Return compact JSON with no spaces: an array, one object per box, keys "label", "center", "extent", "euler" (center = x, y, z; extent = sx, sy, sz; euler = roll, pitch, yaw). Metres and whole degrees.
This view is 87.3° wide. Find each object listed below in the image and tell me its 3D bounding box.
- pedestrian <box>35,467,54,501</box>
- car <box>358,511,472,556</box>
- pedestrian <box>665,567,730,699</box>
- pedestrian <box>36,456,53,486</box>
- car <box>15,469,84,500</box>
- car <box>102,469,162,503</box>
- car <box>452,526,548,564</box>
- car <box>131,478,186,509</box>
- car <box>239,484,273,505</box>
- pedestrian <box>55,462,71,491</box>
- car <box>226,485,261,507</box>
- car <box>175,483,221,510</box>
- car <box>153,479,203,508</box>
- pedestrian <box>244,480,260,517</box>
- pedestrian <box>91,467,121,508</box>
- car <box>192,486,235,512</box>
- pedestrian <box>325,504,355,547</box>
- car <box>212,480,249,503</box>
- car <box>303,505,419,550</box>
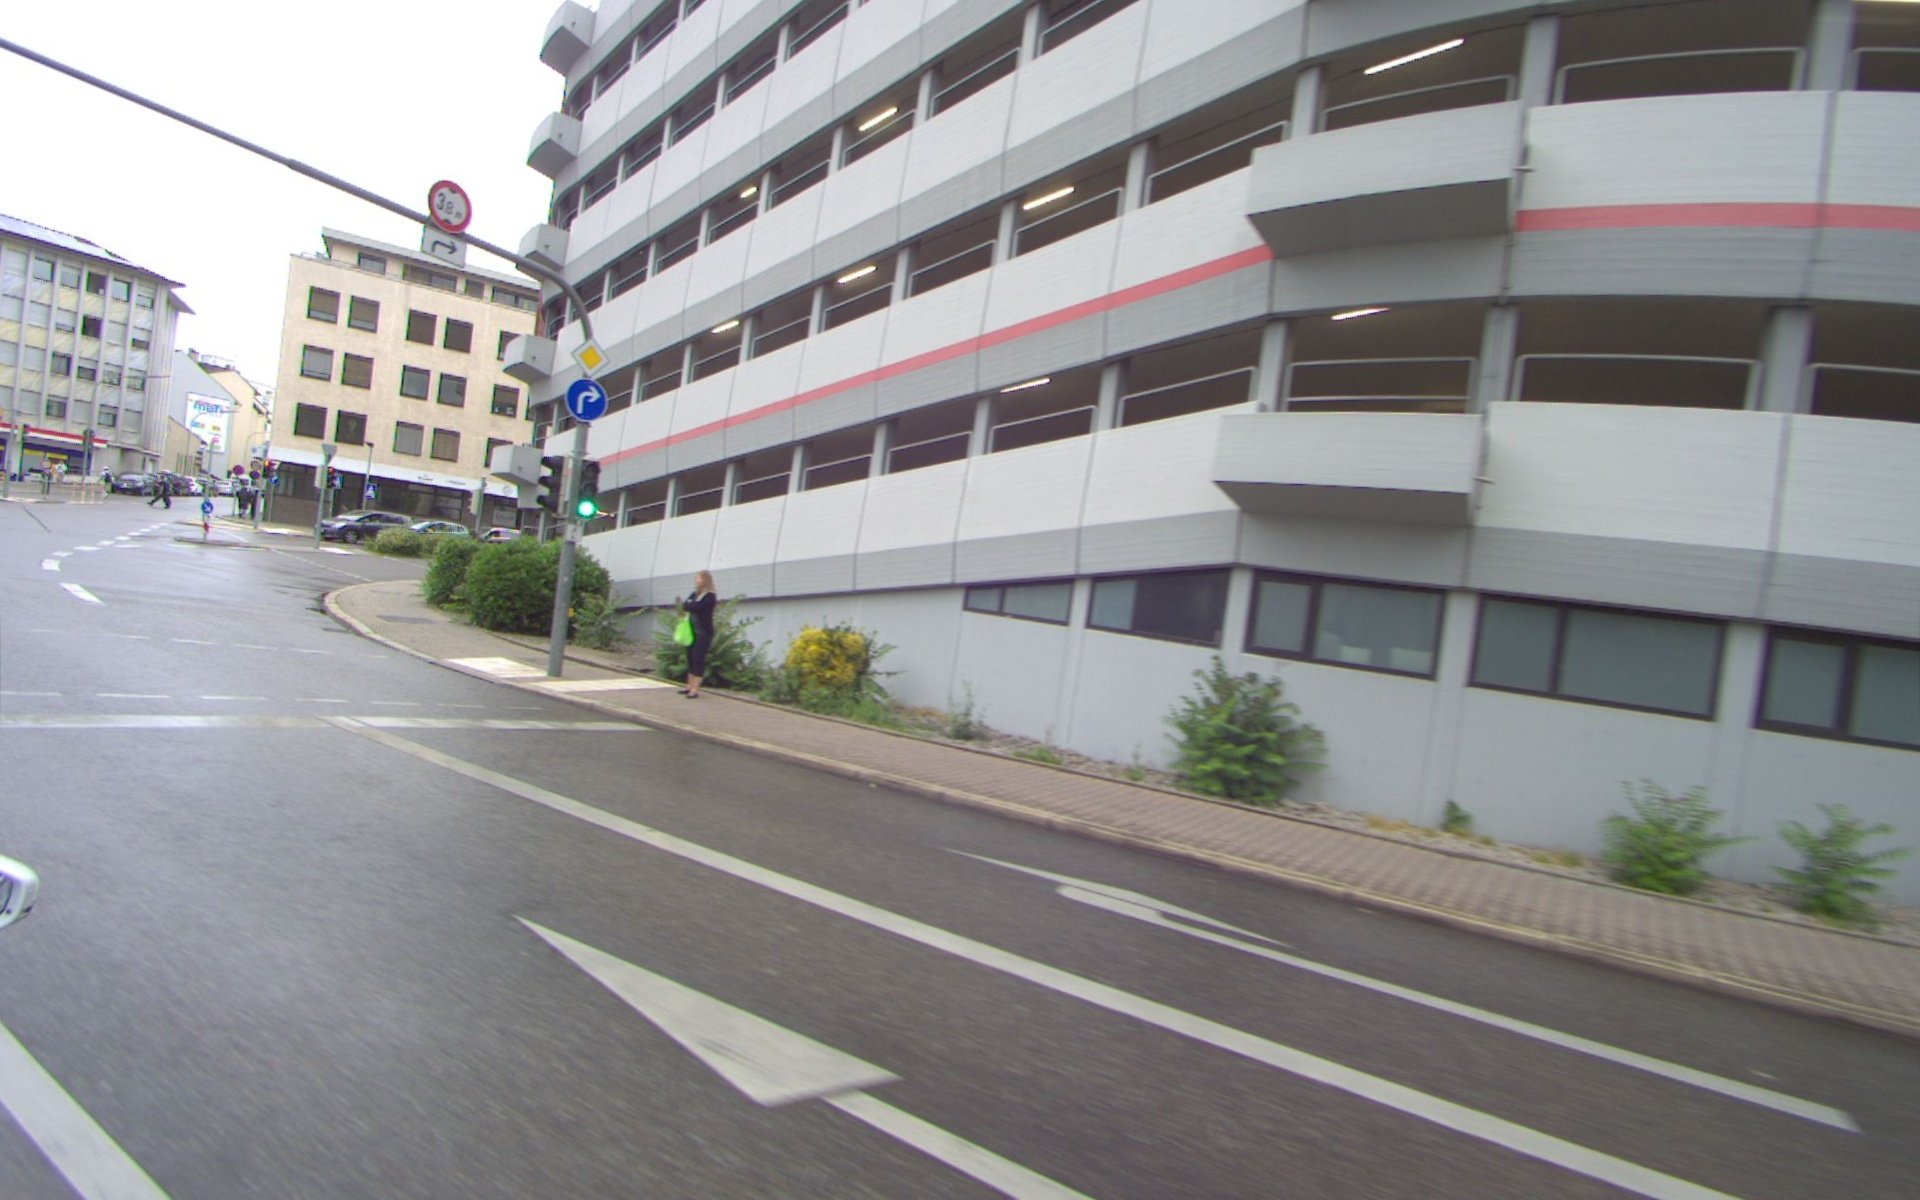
[{"label":"pedestrian","center":[-40.324,-5.106,44.322],"extent":[0.439,1.416,0.396],"euler":[6,-2,33]},{"label":"car","center":[-24.982,-3.022,46.229],"extent":[1.831,1.458,4.180],"euler":[7,0,39]},{"label":"pedestrian","center":[-3.610,0.457,13.835],"extent":[0.638,1.730,0.469],"euler":[7,-1,-22]},{"label":"pedestrian","center":[-56.123,-7.916,61.682],"extent":[0.522,1.749,0.683],"euler":[6,1,-31]},{"label":"car","center":[-63.015,-7.971,69.673],"extent":[1.971,1.414,3.987],"euler":[8,-3,-19]},{"label":"car","center":[-55.096,-7.567,67.019],"extent":[1.974,1.727,3.977],"euler":[6,0,-24]},{"label":"car","center":[-24.268,-2.892,53.165],"extent":[1.831,1.458,4.180],"euler":[7,0,39]},{"label":"car","center":[-57.088,-7.577,71.747],"extent":[1.974,1.727,3.977],"euler":[6,0,-24]},{"label":"car","center":[-74.984,-11.208,107.218],"extent":[1.974,1.735,4.359],"euler":[6,0,-24]},{"label":"pedestrian","center":[-54.271,-7.457,60.860],"extent":[0.479,1.659,0.436],"euler":[7,-2,-29]},{"label":"car","center":[-71.812,-10.405,100.860],"extent":[1.974,1.727,3.977],"euler":[6,0,-24]},{"label":"car","center":[-61.624,-8.315,81.414],"extent":[1.974,1.727,3.977],"euler":[6,0,-24]},{"label":"car","center":[-59.161,-8.033,76.167],"extent":[1.974,1.727,3.977],"euler":[6,0,-24]},{"label":"pedestrian","center":[-39.974,-5.715,56.789],"extent":[0.439,2.037,0.396],"euler":[6,-2,33]},{"label":"pedestrian","center":[-47.469,-6.249,55.903],"extent":[0.931,2.155,0.856],"euler":[7,1,26]},{"label":"car","center":[-63.927,-8.646,86.167],"extent":[1.974,1.727,3.977],"euler":[6,0,-24]},{"label":"pedestrian","center":[-31.623,-3.802,51.303],"extent":[0.718,2.037,0.880],"euler":[6,-2,33]},{"label":"car","center":[-69.821,-10.379,96.333],"extent":[1.974,1.727,3.977],"euler":[6,0,-24]},{"label":"car","center":[-27.719,-3.341,46.673],"extent":[1.831,1.458,4.180],"euler":[7,0,39]}]
